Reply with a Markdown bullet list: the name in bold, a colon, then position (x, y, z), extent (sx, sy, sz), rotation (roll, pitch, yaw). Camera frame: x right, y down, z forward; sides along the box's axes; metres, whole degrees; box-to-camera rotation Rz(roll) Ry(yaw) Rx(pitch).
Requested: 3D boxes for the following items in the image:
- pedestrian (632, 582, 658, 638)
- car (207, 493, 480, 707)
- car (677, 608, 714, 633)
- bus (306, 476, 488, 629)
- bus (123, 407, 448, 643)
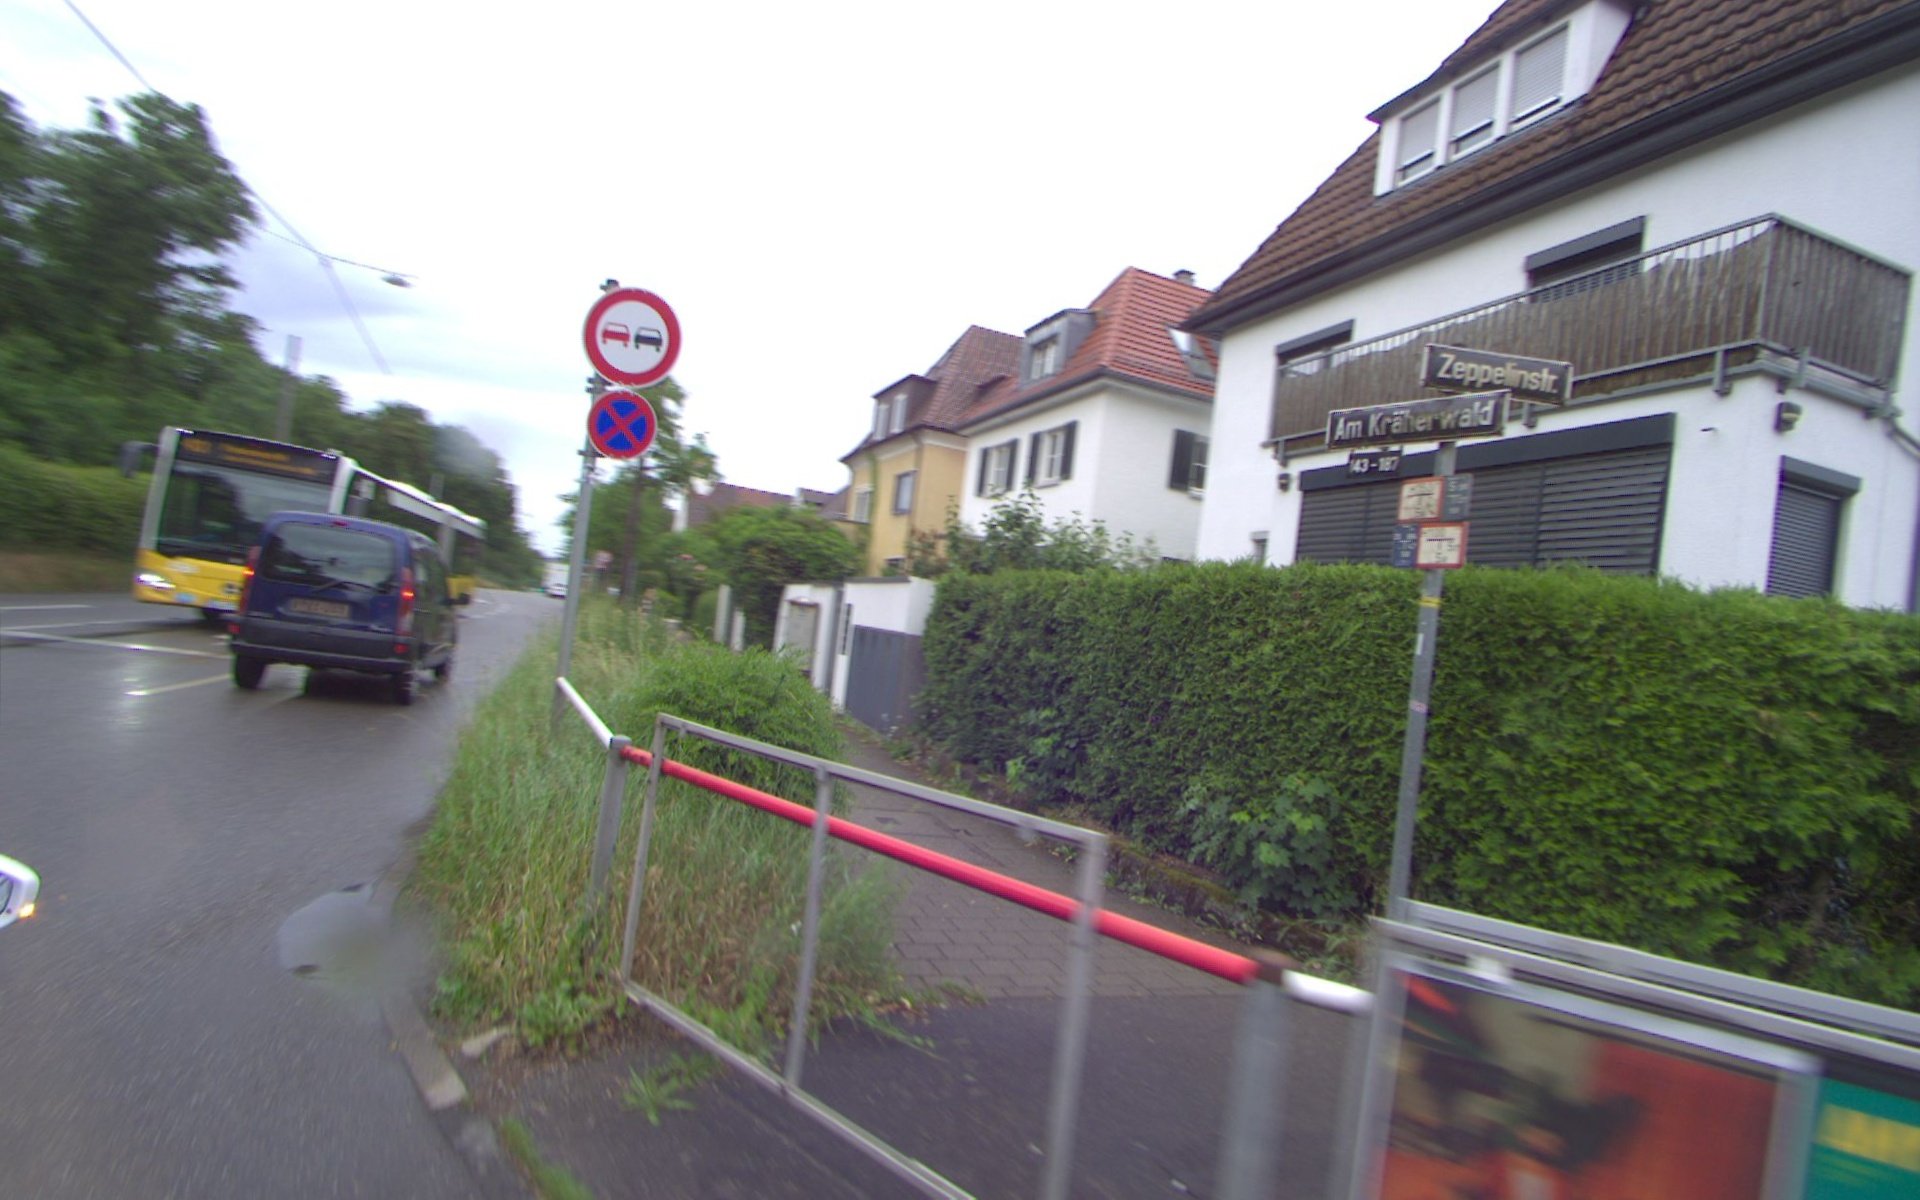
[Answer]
- **pedestrian**: position (-9.045, 0.285, 28.898), extent (0.477, 1.551, 0.437), rotation (9, -2, -23)
- **car**: position (-6.740, 0.024, 11.478), extent (1.790, 1.818, 3.983), rotation (8, -2, -21)
- **car**: position (-16.255, 1.219, 61.710), extent (1.812, 1.189, 3.987), rotation (9, -3, -18)
- **bus**: position (-15.113, -1.080, 27.741), extent (2.568, 3.193, 8.603), rotation (9, -3, -19)
- **bus**: position (-12.168, -1.062, 19.311), extent (2.616, 3.078, 9.195), rotation (9, -3, -19)
